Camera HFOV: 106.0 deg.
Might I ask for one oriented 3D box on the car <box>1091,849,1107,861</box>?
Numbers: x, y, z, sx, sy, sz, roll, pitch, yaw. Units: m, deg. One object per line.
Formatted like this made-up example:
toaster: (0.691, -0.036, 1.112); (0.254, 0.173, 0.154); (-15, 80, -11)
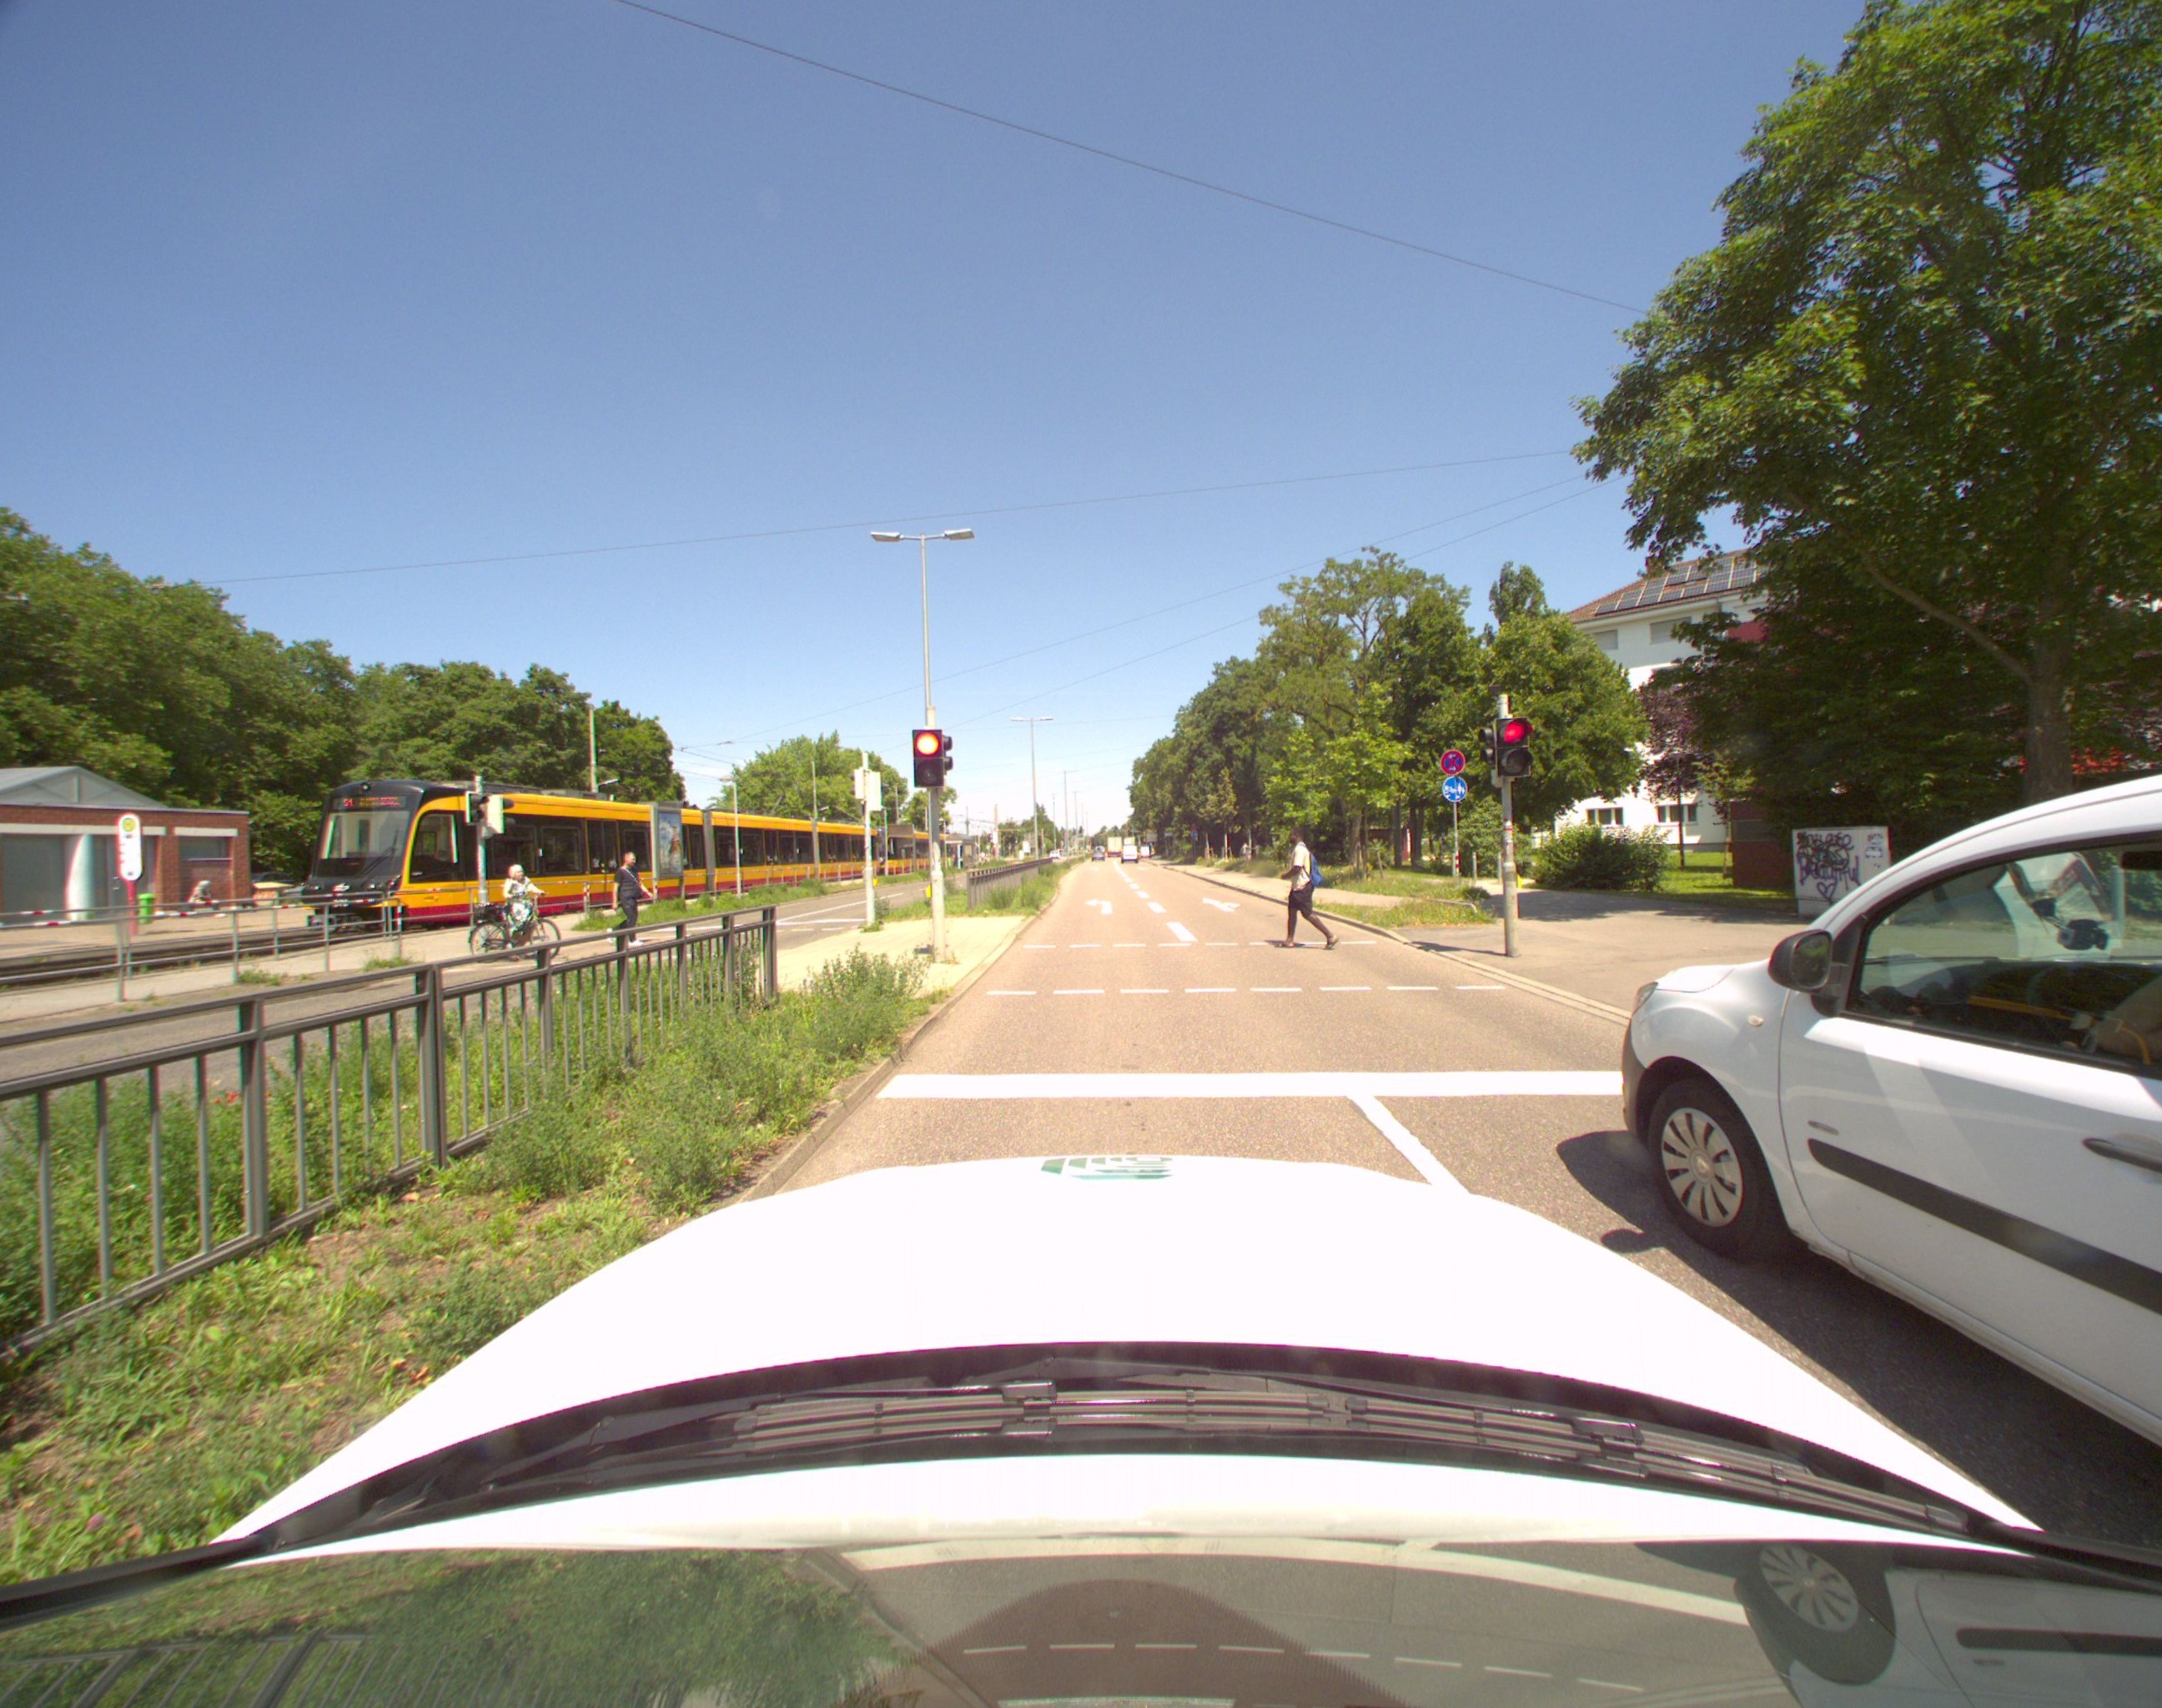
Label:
car: (2.313, 0.138, 103.672); (1.794, 1.486, 4.004); (-2, 0, 3)

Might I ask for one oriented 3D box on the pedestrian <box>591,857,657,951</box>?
pedestrian: (-9.041, 0.967, 16.113); (0.949, 1.796, 0.710); (-1, 0, 30)

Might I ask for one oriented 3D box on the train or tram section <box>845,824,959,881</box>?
train or tram section: (-13.733, -0.164, 66.612); (2.777, 3.668, 26.009); (-1, 0, 2)

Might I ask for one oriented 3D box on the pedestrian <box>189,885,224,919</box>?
pedestrian: (-26.917, 1.473, 25.074); (0.479, 1.018, 0.523); (-2, 0, 3)

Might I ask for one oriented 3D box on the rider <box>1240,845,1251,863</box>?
rider: (11.796, -0.031, 58.560); (0.675, 1.281, 0.534); (-1, 0, 1)

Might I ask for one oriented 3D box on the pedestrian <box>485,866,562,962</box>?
pedestrian: (-9.836, 1.045, 14.388); (0.815, 1.628, 0.707); (-1, 0, 7)

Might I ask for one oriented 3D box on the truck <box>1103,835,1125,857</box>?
truck: (6.049, -1.443, 150.790); (3.885, 3.812, 10.796); (-2, 0, 1)

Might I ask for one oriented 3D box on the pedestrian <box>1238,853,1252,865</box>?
pedestrian: (11.816, 0.342, 58.560); (0.675, 0.847, 1.774); (-1, 0, 1)

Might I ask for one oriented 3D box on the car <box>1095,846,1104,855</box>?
car: (3.797, -0.736, 166.789); (1.681, 1.897, 3.871); (-2, 0, 1)

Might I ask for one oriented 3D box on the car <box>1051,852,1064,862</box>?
car: (-4.161, 0.490, 142.480); (1.986, 1.650, 4.001); (-2, 0, 1)

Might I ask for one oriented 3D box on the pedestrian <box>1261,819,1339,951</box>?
pedestrian: (3.228, 0.442, 11.973); (1.038, 1.850, 0.760); (-1, 0, 16)

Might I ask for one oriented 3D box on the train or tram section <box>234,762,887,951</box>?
train or tram section: (-14.727, -0.024, 34.812); (2.777, 3.668, 37.532); (-1, 0, 2)

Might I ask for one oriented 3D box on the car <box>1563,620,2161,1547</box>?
car: (3.096, 0.459, 1.599); (1.817, 1.881, 4.459); (-1, 0, 2)

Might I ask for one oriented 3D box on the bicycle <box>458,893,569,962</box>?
bicycle: (-9.820, 1.273, 14.096); (1.853, 1.157, 0.243); (-1, 0, 6)

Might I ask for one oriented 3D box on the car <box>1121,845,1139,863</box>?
car: (5.028, 0.020, 83.947); (1.719, 1.813, 4.006); (0, 1, 5)
